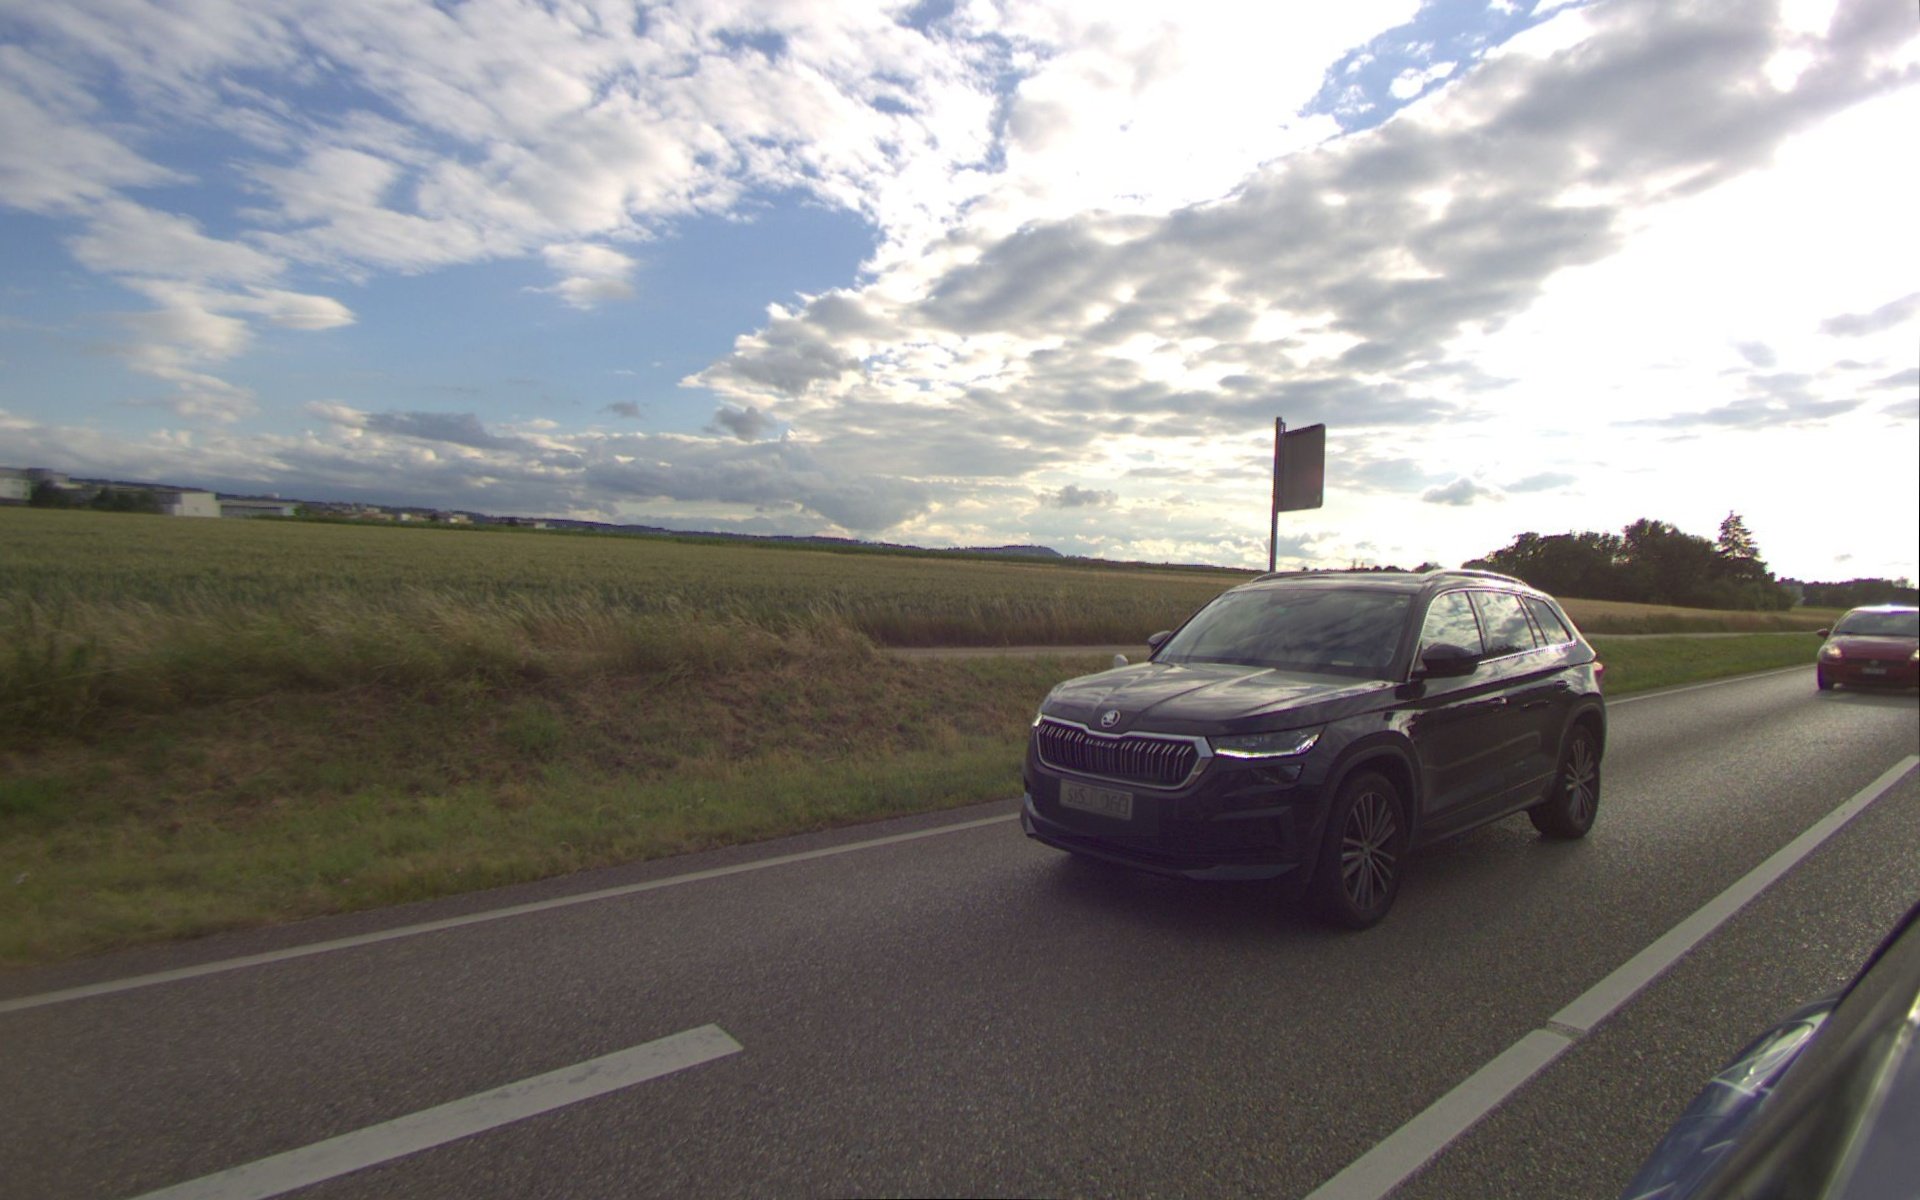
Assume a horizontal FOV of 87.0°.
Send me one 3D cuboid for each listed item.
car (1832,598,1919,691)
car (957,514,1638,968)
[{"bbox_3d":[16.879,0.717,17.874,3.840,1.475,1.710,-1,0,-41],"label":"car"},{"bbox_3d":[2.268,0.515,6.035,4.477,1.730,1.839,-1,0,-41],"label":"car"}]
